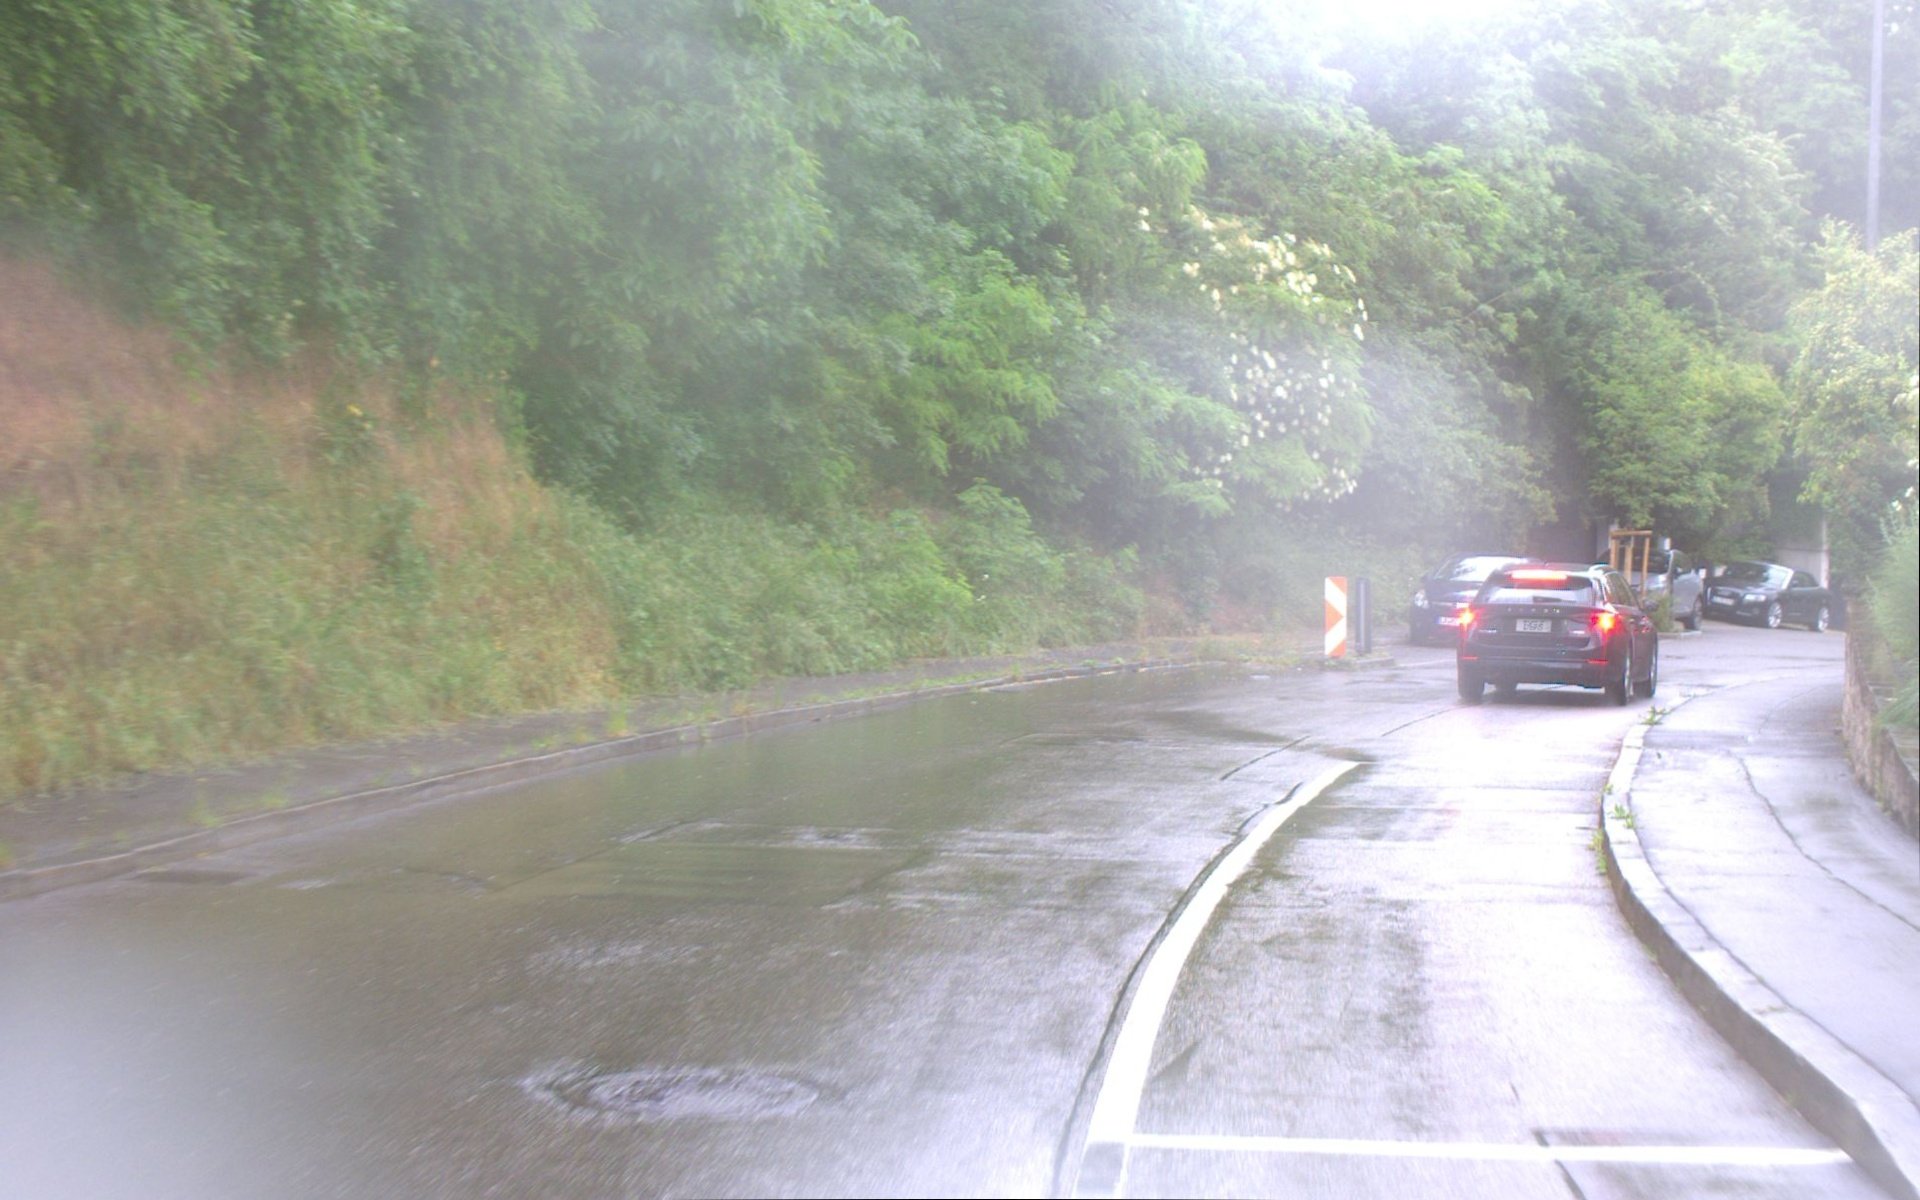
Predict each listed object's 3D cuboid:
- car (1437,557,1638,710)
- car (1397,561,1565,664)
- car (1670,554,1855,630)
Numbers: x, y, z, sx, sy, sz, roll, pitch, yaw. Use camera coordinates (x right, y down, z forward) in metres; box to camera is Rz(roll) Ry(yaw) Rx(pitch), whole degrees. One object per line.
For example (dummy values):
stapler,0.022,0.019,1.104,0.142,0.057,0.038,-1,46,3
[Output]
car,6.233,0.310,36.801,1.869,1.507,4.090,1,1,13
car,8.200,0.163,53.837,1.701,1.466,3.996,3,2,21
car,17.760,-0.172,75.979,1.998,1.503,4.559,4,2,41
